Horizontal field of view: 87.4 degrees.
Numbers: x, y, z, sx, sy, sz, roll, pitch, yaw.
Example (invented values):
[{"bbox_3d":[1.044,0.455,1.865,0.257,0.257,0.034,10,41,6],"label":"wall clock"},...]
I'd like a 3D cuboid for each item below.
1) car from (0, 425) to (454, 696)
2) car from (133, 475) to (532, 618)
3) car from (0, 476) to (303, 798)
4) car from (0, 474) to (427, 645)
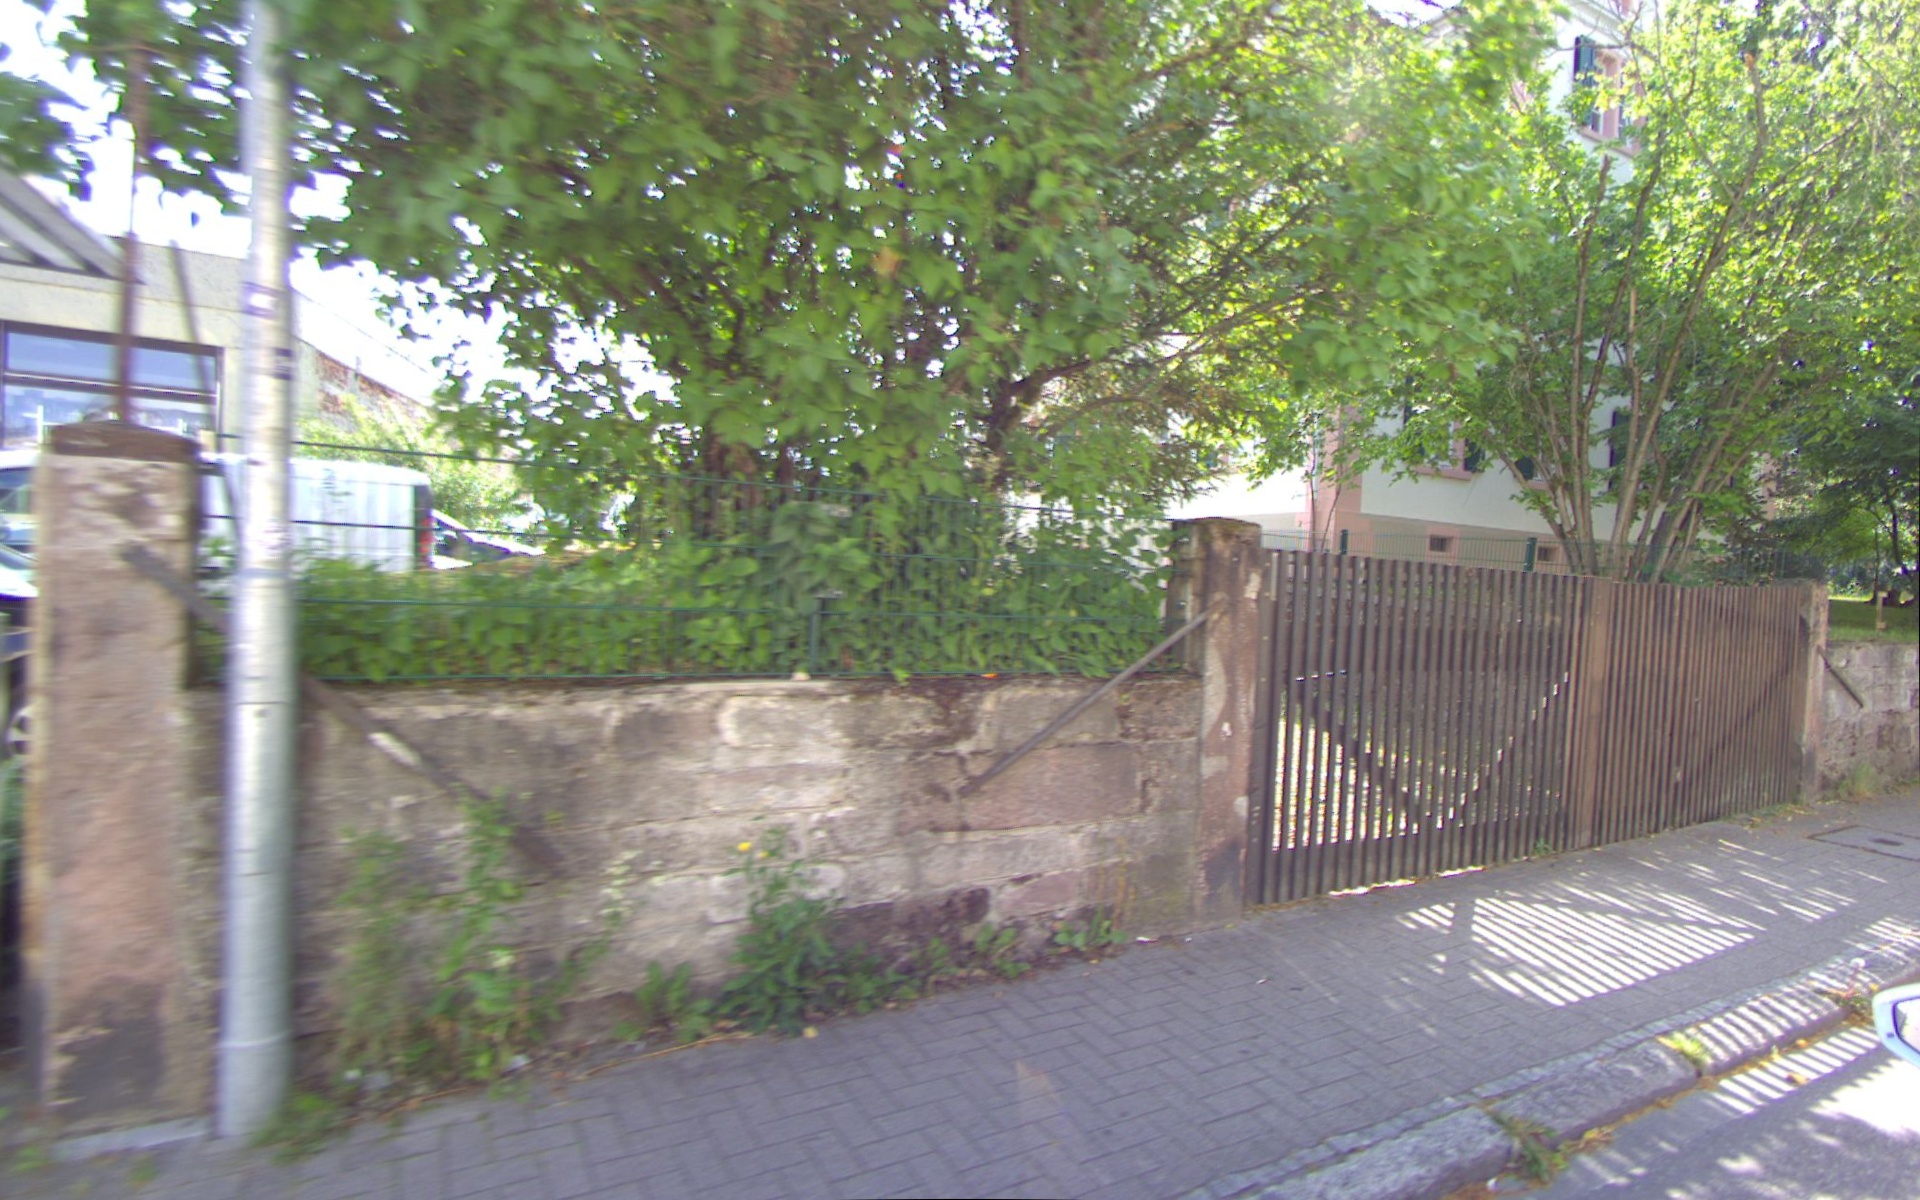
[{"bbox_3d":[-6.515,-0.330,7.625,4.630,1.796,1.812,1,5,-32],"label":"car"},{"bbox_3d":[-7.608,-0.627,12.582,3.952,1.526,1.798,1,4,-30],"label":"car"},{"bbox_3d":[-5.755,0.107,4.738,4.342,1.482,1.607,1,4,-30],"label":"car"},{"bbox_3d":[-7.512,-0.397,9.873,3.953,1.442,1.805,1,4,-31],"label":"car"}]
